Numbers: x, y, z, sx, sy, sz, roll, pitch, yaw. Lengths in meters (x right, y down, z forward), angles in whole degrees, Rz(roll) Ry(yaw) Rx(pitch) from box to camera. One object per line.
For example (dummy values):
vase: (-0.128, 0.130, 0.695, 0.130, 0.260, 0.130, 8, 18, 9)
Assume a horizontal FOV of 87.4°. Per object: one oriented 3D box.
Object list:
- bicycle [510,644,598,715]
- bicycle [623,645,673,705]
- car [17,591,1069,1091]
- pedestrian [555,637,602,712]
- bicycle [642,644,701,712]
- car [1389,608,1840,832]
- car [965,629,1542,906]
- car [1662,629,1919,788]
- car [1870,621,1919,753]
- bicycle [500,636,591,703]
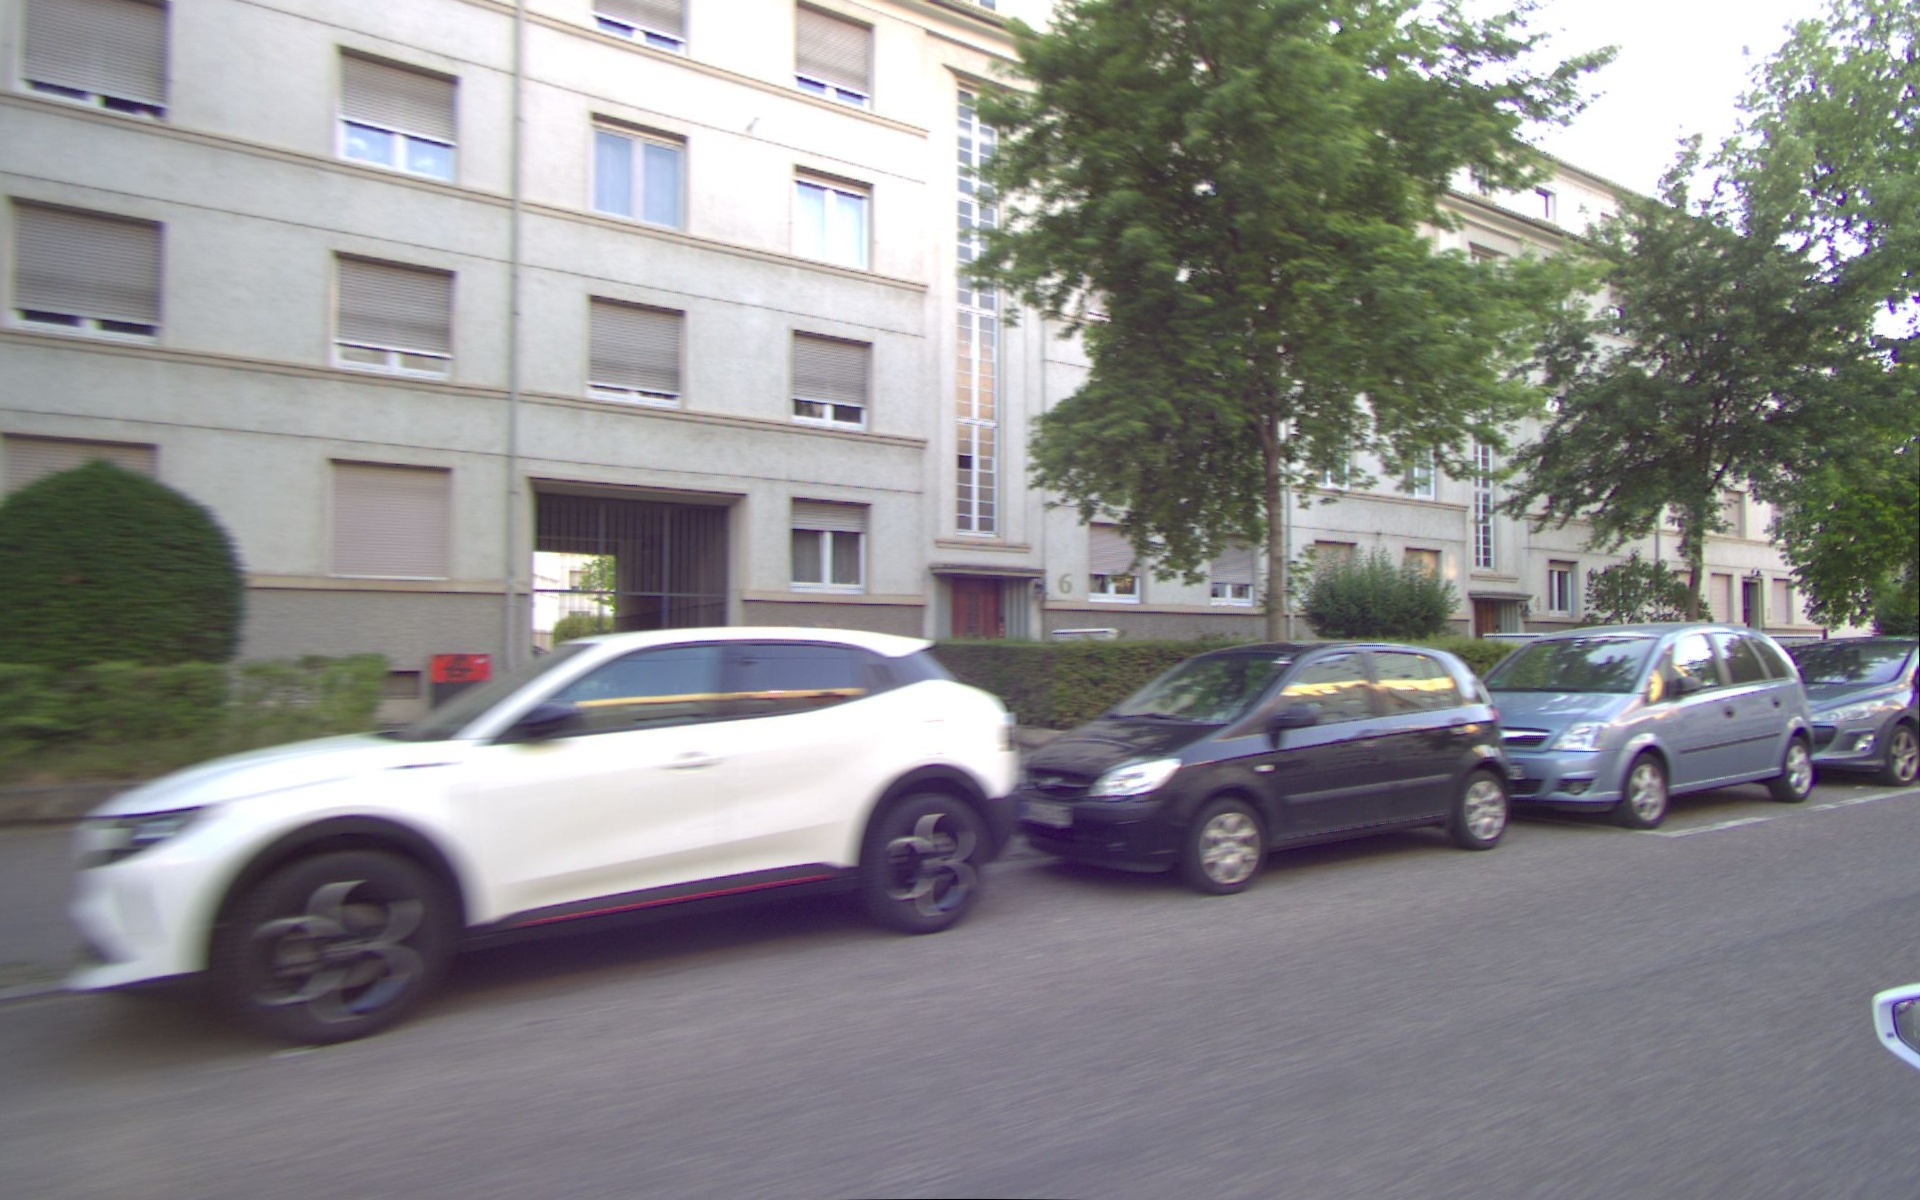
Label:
bicycle: (-7.201, 1.385, 17.899, 0.615, 1.187, 1.818, 0, -2, 8)
bicycle: (-6.587, 1.554, 21.159, 0.620, 1.187, 1.919, 1, -2, -29)
car: (-1.601, 0.877, 4.969, 4.160, 1.558, 1.582, 2, -6, -32)
pedestrian: (-6.955, 1.348, 18.315, 0.583, 1.337, 0.554, 0, -2, 13)
bicycle: (-5.394, 1.416, 18.701, 0.620, 1.187, 1.919, 1, -2, -29)
car: (5.969, 0.995, 9.086, 4.068, 1.621, 1.700, 2, -6, -30)
car: (2.102, 1.010, 7.061, 3.797, 1.470, 1.700, 2, -6, -30)
car: (10.122, 1.134, 11.325, 4.213, 1.516, 1.728, 1, -4, -26)
car: (14.828, 1.168, 14.020, 4.805, 1.712, 1.837, 2, -5, -32)
bicycle: (-7.718, 1.273, 18.791, 0.615, 1.187, 1.818, 0, -2, 13)
